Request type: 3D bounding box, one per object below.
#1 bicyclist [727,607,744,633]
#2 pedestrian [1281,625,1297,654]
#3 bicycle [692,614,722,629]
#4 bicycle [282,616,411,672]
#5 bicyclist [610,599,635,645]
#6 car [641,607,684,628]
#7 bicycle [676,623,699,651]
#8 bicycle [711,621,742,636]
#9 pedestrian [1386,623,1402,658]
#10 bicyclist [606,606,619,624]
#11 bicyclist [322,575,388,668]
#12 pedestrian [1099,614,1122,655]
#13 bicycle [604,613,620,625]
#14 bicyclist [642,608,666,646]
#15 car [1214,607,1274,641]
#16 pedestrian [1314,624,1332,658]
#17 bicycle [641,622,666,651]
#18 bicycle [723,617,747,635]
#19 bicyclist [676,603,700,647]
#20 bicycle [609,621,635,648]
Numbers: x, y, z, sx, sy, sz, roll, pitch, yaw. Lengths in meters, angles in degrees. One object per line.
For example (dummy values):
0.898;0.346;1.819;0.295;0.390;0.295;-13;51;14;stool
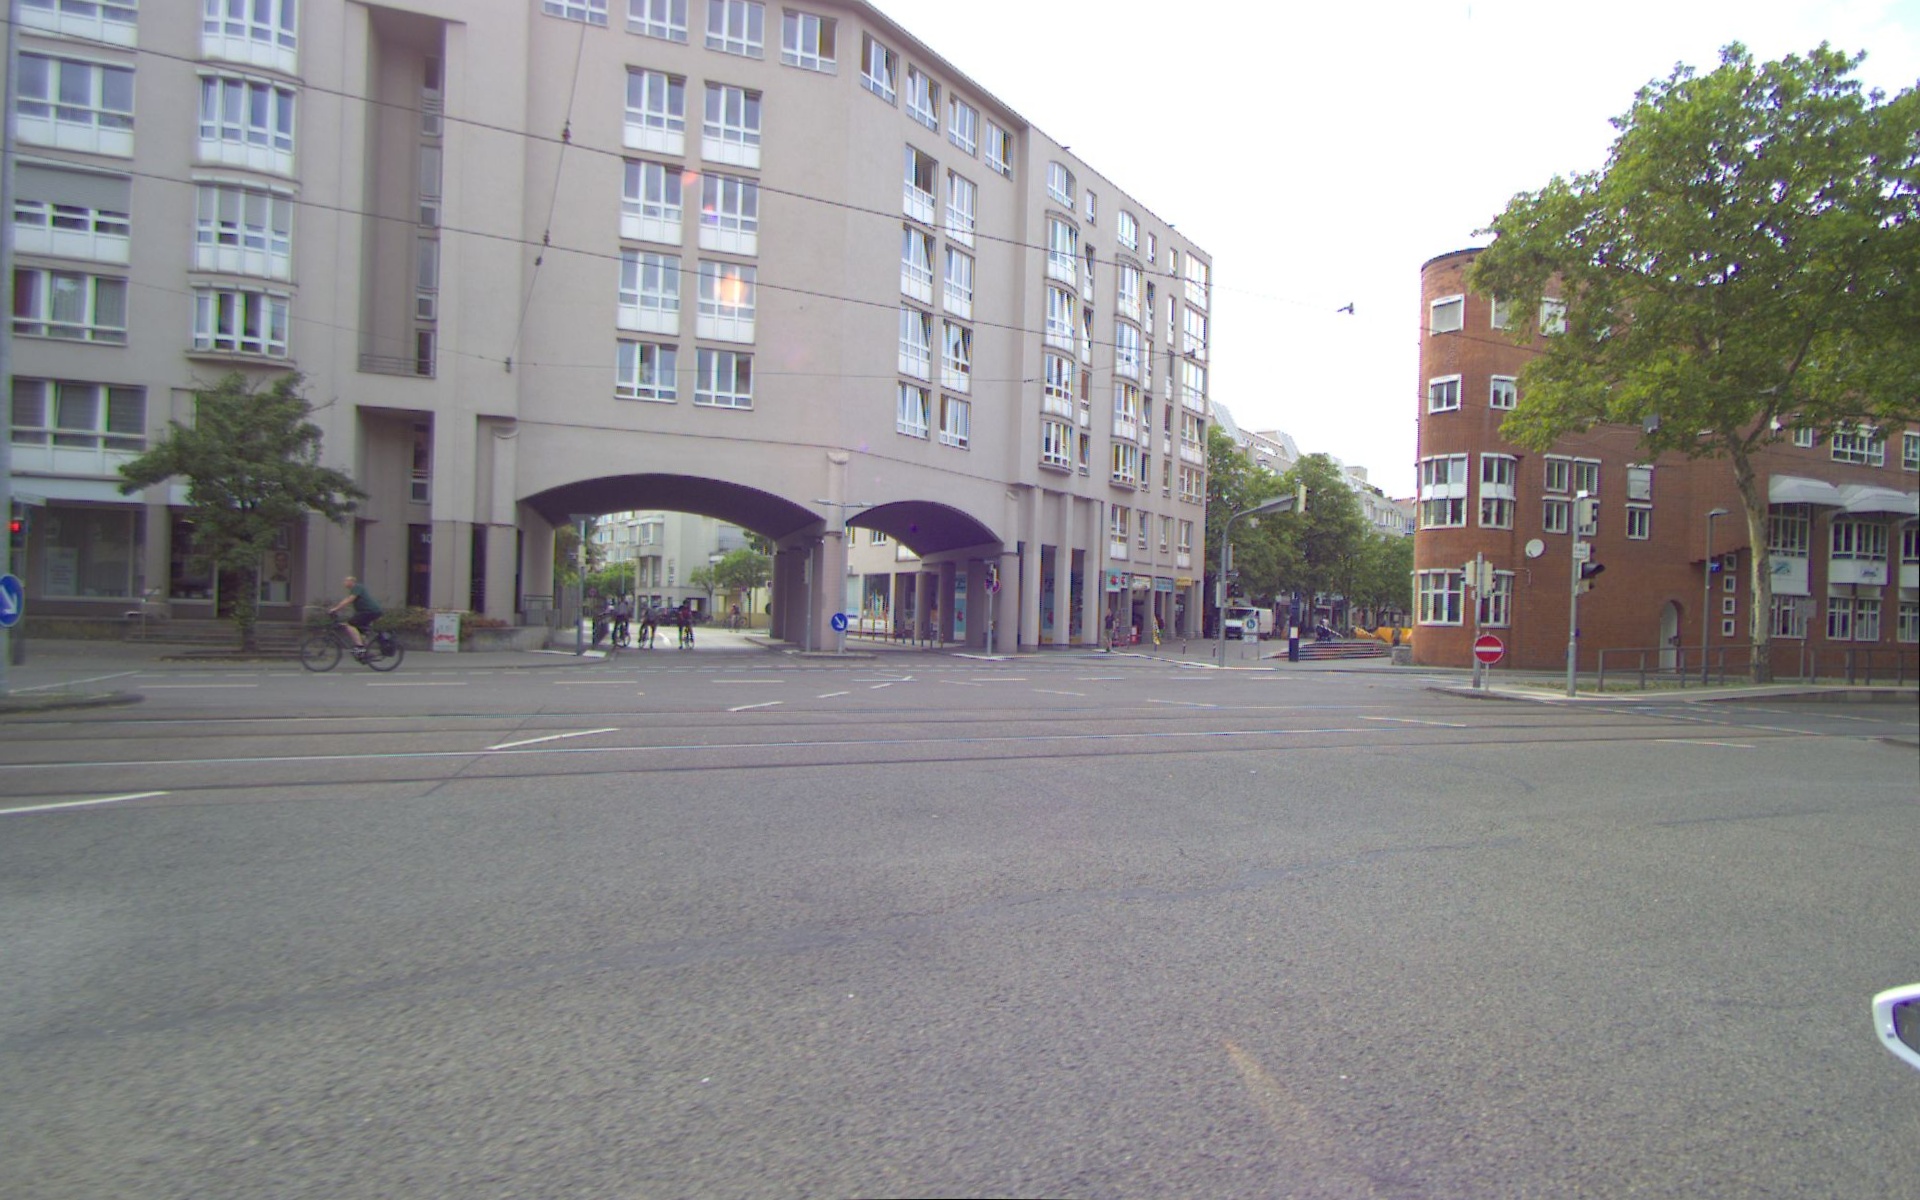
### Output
-14.057;1.251;62.880;0.698;1.545;0.938;2;0;-35;bicyclist
19.924;2.371;60.752;0.683;1.693;0.829;2;0;34;pedestrian
-18.794;1.634;74.731;2.090;1.062;0.658;3;-1;-41;bicycle
-12.658;0.913;20.817;2.179;1.107;0.675;2;-1;-25;bicycle
-12.506;0.812;37.257;0.755;1.636;0.880;2;0;-16;bicyclist
-23.752;1.385;80.062;1.696;1.584;3.950;3;-1;-42;car
-9.816;1.325;36.214;0.753;0.923;2.180;2;-1;-15;bicycle
-17.166;2.084;73.863;2.088;1.062;0.629;3;-1;-39;bicycle
23.615;2.186;54.640;0.683;1.841;0.654;2;0;34;pedestrian
-29.225;1.238;84.448;0.700;1.471;0.810;3;-1;-40;bicyclist
-12.549;0.451;20.867;1.066;1.873;0.665;2;-1;-25;bicyclist
6.344;1.440;42.419;0.664;1.702;0.751;1;0;33;pedestrian
-29.260;1.594;84.475;0.702;0.877;1.838;3;-1;-40;bicycle
-10.995;0.968;36.101;0.755;1.321;0.880;2;-1;-16;bicyclist
17.501;1.476;61.705;1.967;1.962;4.929;2;-1;35;car
21.661;2.431;59.866;0.780;1.990;0.803;1;0;36;pedestrian
-11.020;1.299;36.131;0.753;0.923;2.180;2;-1;-15;bicycle
-14.087;1.618;62.913;0.706;1.062;2.086;2;-1;-35;bicycle
-9.792;0.886;36.184;0.755;1.559;0.880;2;0;-16;bicyclist
-12.508;1.264;37.218;0.753;0.923;2.180;2;-1;-15;bicycle
